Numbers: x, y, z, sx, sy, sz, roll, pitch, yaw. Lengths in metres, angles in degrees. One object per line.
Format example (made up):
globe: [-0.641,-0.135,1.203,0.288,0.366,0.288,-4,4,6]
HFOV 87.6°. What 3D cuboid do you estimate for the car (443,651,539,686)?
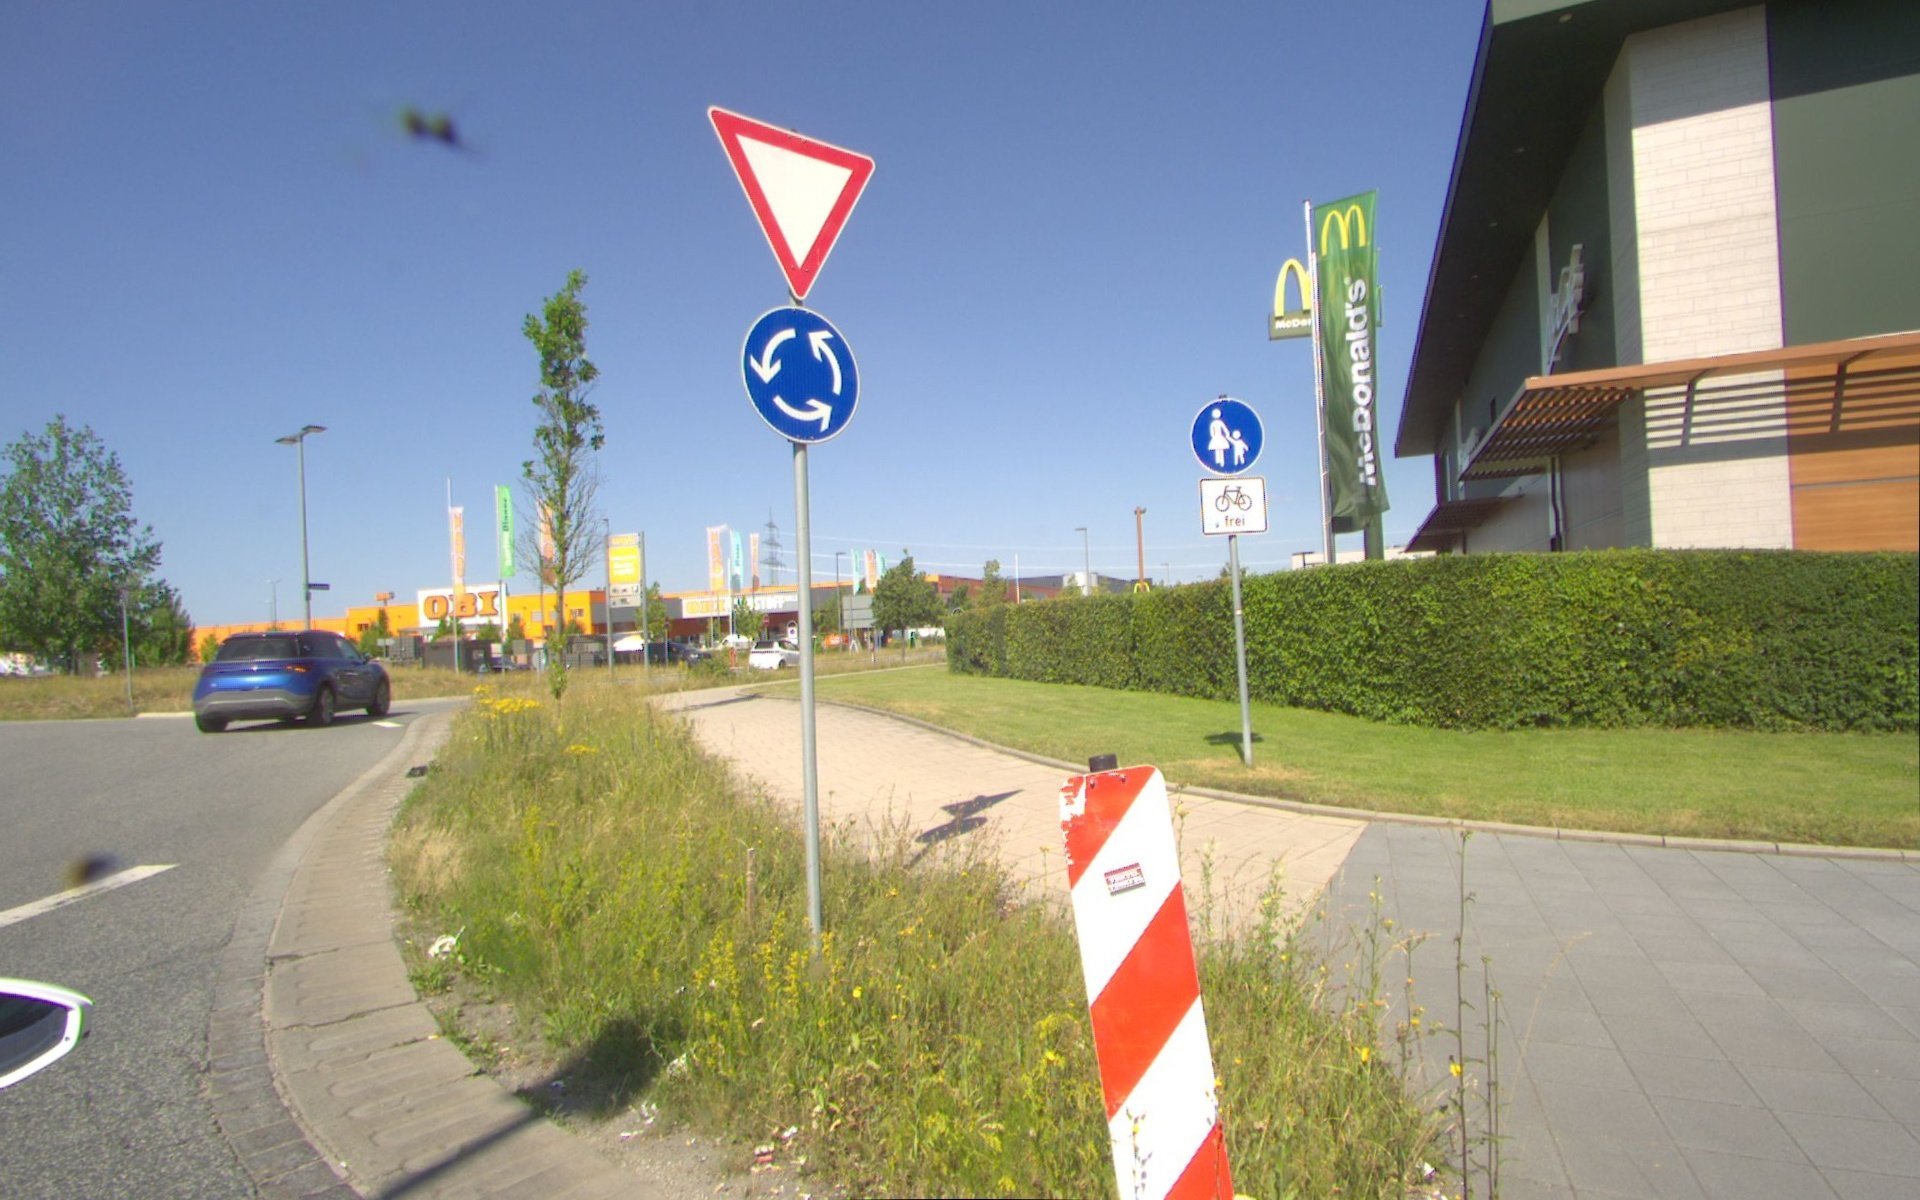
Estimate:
car: [-27.228,3.979,58.208,4.608,1.647,2.079,-4,-2,8]

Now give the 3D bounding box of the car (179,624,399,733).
car: [-11.700,1.299,17.823,1.822,1.656,4.078,-1,-2,-12]

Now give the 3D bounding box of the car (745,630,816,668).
car: [-7.628,2.082,42.805,1.488,1.459,3.344,-3,-1,19]

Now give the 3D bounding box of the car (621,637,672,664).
car: [-22.628,3.661,72.409,1.670,1.863,3.771,-3,-4,17]
